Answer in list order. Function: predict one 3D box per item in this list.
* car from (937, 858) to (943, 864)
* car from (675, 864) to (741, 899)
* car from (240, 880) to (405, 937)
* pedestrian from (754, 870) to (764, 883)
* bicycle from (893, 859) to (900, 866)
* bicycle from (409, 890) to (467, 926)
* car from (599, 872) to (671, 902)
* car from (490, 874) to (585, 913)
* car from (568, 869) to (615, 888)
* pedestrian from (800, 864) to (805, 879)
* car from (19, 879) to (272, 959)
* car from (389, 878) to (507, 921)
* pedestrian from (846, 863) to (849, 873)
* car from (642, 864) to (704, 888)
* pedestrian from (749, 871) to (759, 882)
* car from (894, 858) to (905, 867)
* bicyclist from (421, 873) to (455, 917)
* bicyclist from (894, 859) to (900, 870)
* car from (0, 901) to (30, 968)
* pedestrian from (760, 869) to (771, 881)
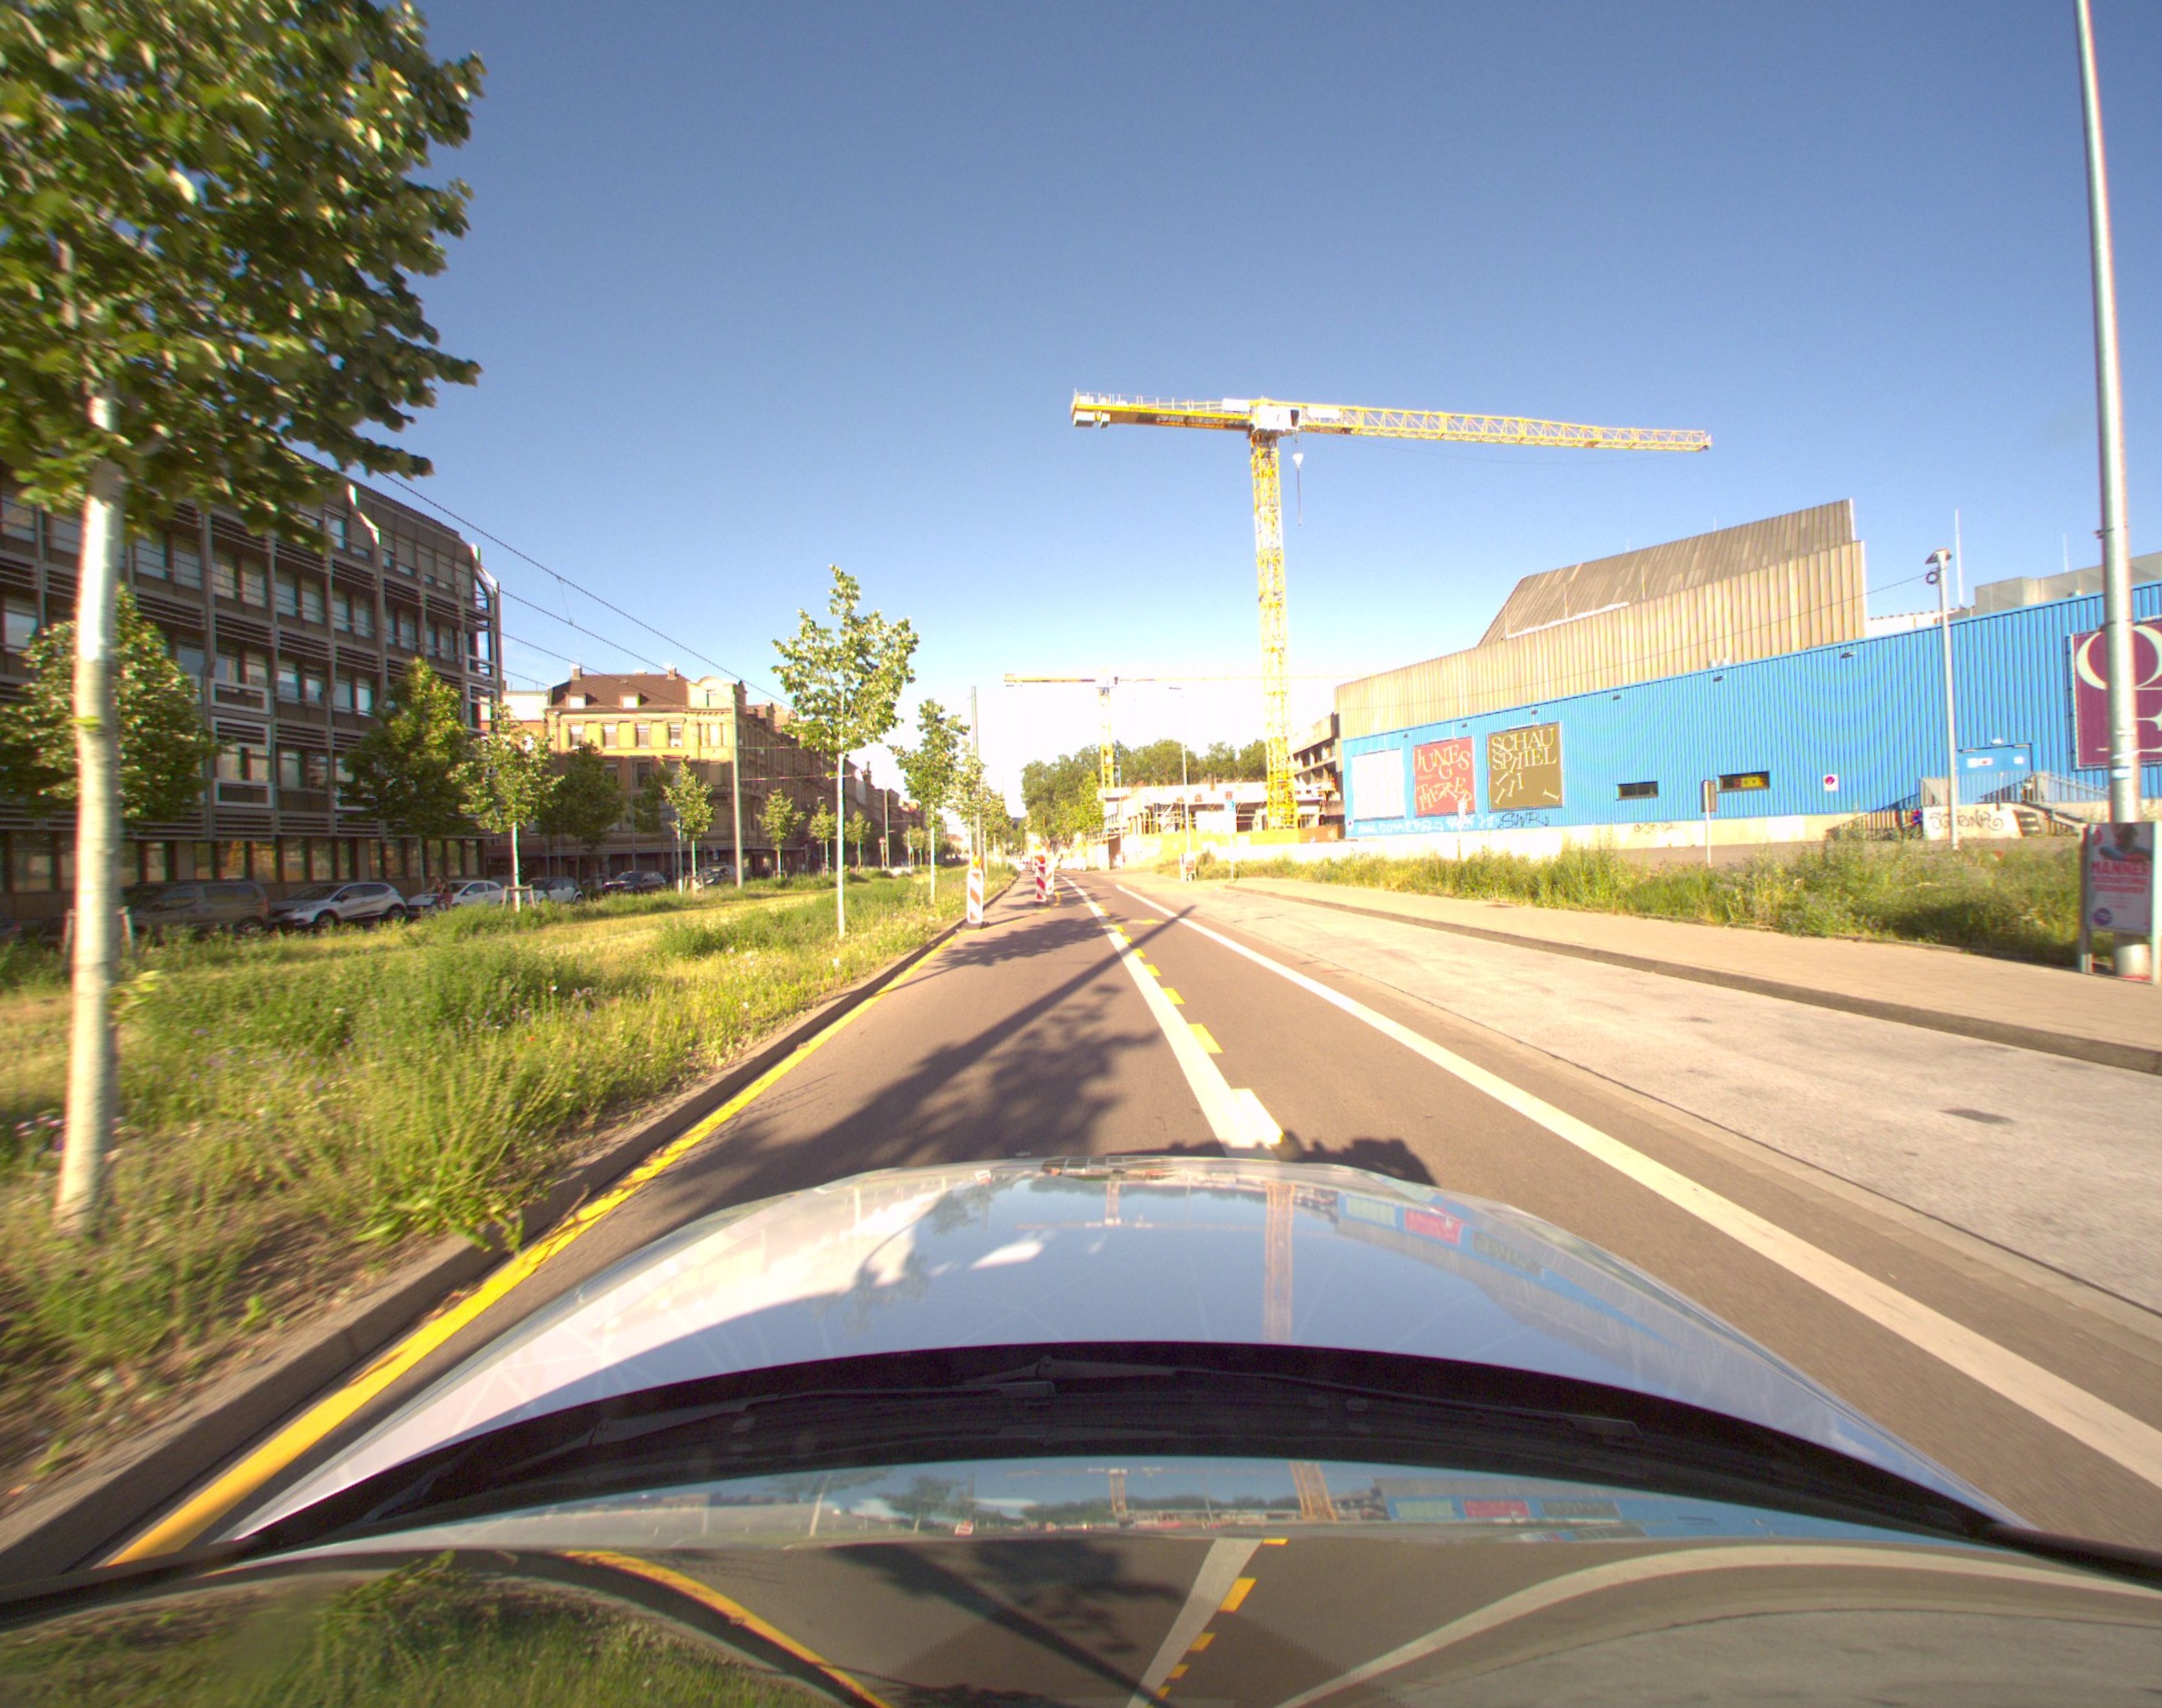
[{"bbox_3d":[-40.780,1.998,235.644,1.592,1.483,3.616,-2,0,-5],"label":"car"},{"bbox_3d":[-20.596,1.495,45.133,1.723,1.746,4.119,-2,0,-1],"label":"car"},{"bbox_3d":[-24.954,1.736,27.011,1.732,1.536,3.885,-1,0,1],"label":"car"},{"bbox_3d":[-32.303,2.228,81.649,0.689,1.246,0.927,-2,0,-6],"label":"pedestrian"},{"bbox_3d":[-28.443,1.292,125.463,0.694,0.978,1.823,-2,0,-6],"label":"bicycle"},{"bbox_3d":[-22.454,1.871,28.470,0.563,1.096,1.770,-3,0,0],"label":"bicycle"},{"bbox_3d":[-25.066,1.840,45.951,1.723,1.461,3.903,-1,0,3],"label":"car"},{"bbox_3d":[-25.210,1.807,37.921,1.643,1.554,3.967,-2,0,1],"label":"car"},{"bbox_3d":[-42.410,2.076,70.644,3.146,1.468,1.378,-3,0,-12],"label":"car"},{"bbox_3d":[-32.056,2.040,93.749,0.507,1.765,0.405,0,-1,-7],"label":"pedestrian"},{"bbox_3d":[-24.925,1.647,21.990,1.744,1.771,4.332,-1,0,1],"label":"car"},{"bbox_3d":[-24.924,1.757,32.224,1.619,1.441,3.819,-1,0,1],"label":"car"},{"bbox_3d":[-35.749,2.125,124.654,0.403,1.585,0.424,0,-1,-7],"label":"pedestrian"},{"bbox_3d":[-36.086,1.923,72.160,4.512,1.903,1.891,-3,0,-12],"label":"car"},{"bbox_3d":[-33.127,2.316,82.449,0.689,1.059,0.734,-2,0,-6],"label":"pedestrian"},{"bbox_3d":[-33.621,1.490,150.778,1.565,1.562,4.703,-2,0,-7],"label":"car"},{"bbox_3d":[-22.451,1.419,28.444,0.563,1.457,0.706,-3,0,-1],"label":"bicyclist"},{"bbox_3d":[-28.492,1.586,125.927,0.694,1.657,0.880,-2,0,-6],"label":"bicyclist"},{"bbox_3d":[-24.936,1.826,16.379,1.724,1.469,4.503,-1,0,0],"label":"car"},{"bbox_3d":[-32.440,2.156,83.667,0.790,1.208,0.927,-2,0,-6],"label":"pedestrian"}]
